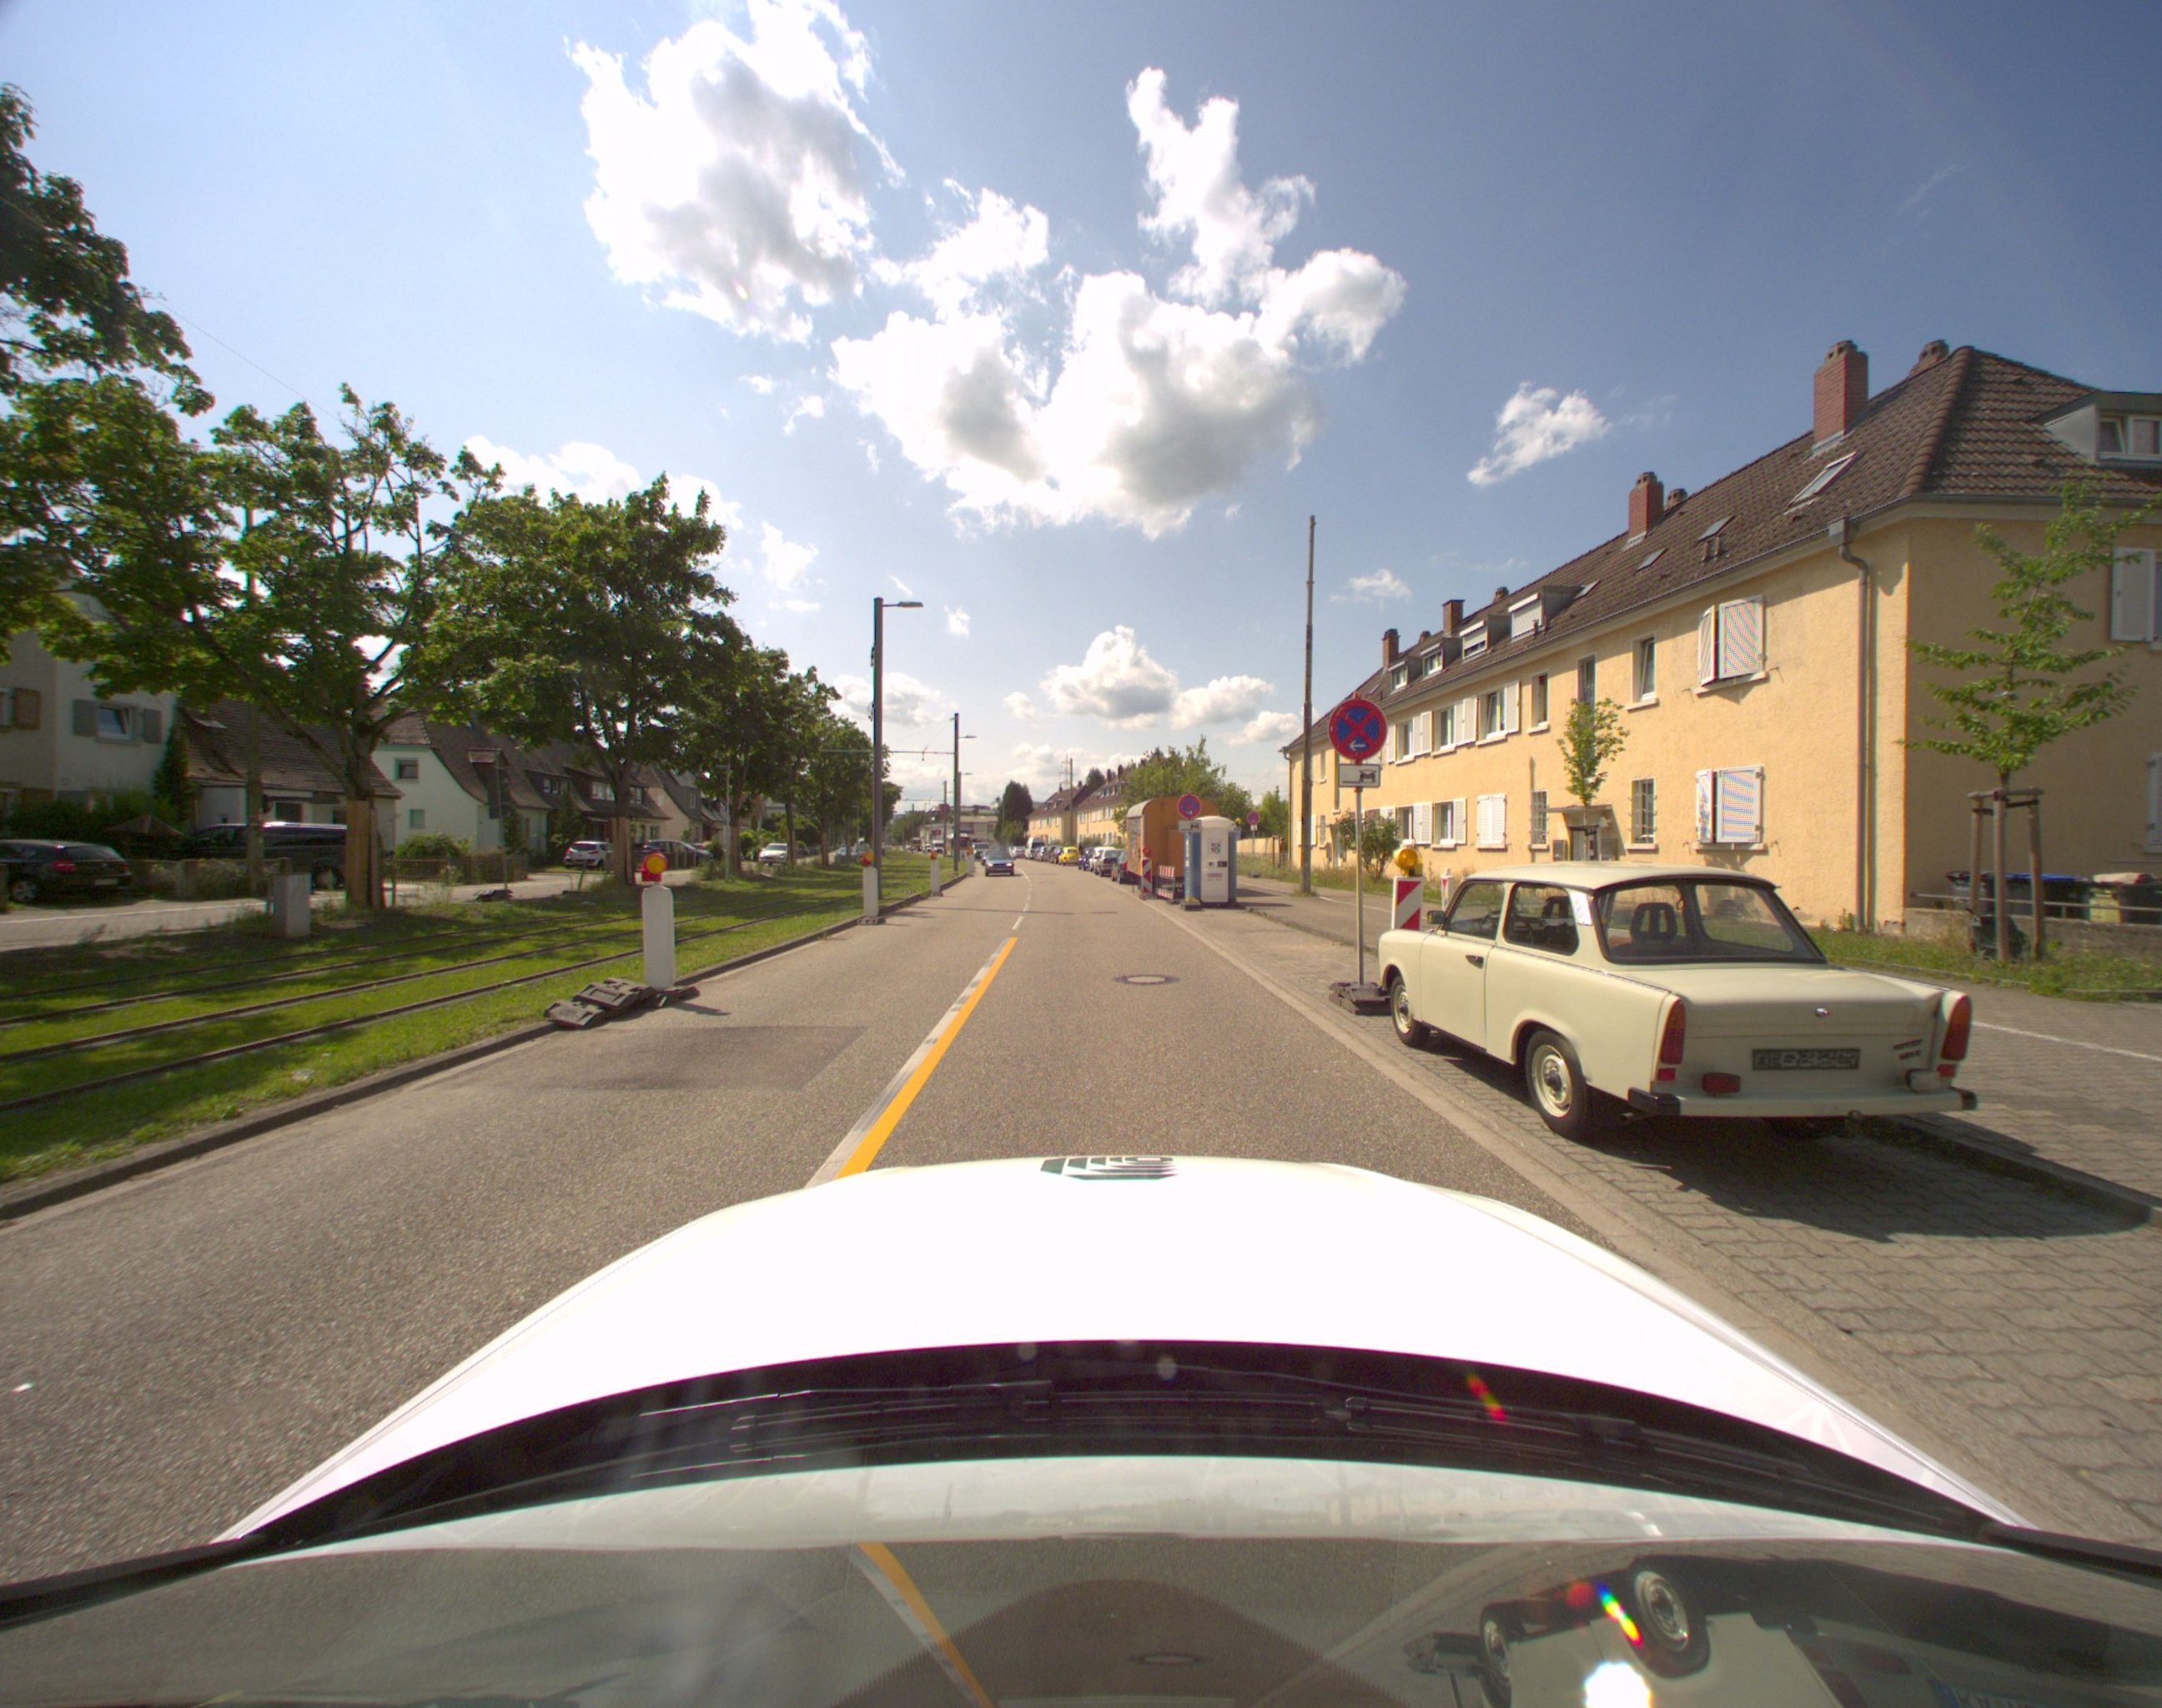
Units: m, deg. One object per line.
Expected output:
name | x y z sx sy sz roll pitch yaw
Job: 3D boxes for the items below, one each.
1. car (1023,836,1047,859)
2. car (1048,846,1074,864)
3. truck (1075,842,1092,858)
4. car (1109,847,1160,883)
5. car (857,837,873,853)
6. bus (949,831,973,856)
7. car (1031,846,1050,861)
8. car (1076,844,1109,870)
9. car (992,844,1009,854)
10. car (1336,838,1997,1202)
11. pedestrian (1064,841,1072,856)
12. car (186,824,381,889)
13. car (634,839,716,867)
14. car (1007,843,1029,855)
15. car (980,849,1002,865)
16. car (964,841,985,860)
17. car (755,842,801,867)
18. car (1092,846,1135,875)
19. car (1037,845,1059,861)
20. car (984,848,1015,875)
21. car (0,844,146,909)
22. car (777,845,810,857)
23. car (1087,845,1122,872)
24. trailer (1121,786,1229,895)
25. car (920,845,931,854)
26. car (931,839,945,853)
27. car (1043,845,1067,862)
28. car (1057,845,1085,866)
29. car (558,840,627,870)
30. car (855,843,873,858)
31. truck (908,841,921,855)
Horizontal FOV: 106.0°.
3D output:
car | -5.125 -0.689 90.027 1.930 2.480 5.496 -1 1 -11
car | -1.747 0.041 70.834 1.636 1.482 4.110 0 1 -10
truck | 0.263 -0.395 88.655 1.346 1.688 2.432 0 0 -11
car | 2.251 0.447 35.202 1.575 1.449 4.446 0 0 -5
car | -37.303 -1.518 140.309 2.080 2.721 6.958 -2 1 -19
bus | -17.862 -1.572 120.567 2.638 3.412 12.197 -1 1 -12
car | -4.207 -0.083 84.761 1.536 1.445 3.724 0 1 -10
car | 0.692 0.156 53.225 1.548 1.641 4.235 0 0 -8
car | -11.512 -0.690 116.442 1.767 1.417 3.980 -2 1 -15
car | 3.110 0.681 5.474 1.459 1.502 4.108 -1 0 -1
pedestrian | -1.507 -0.644 93.482 0.854 1.652 0.635 1 0 -10
car | -25.060 0.097 25.791 3.901 1.897 1.928 2 0 -24
car | -27.069 -0.064 54.480 4.470 1.836 2.058 0 0 -10
car | -7.981 -0.598 102.401 1.802 1.458 4.740 -2 0 -16
car | -7.837 0.232 70.757 1.723 1.389 4.110 0 0 -8
car | -11.541 -0.427 87.921 1.956 1.966 5.274 -1 1 -11
car | -22.732 0.011 61.353 1.878 1.768 5.075 0 0 -4
car | 1.667 0.311 43.055 1.704 1.449 4.827 0 1 -5
car | -3.257 -0.116 79.949 1.636 1.602 4.015 0 1 -10
car | -4.669 0.390 47.222 1.662 1.449 3.953 -2 1 -5
car | -24.803 0.487 18.950 3.876 1.457 1.733 0 0 -5
car | -38.368 -0.435 108.716 3.997 1.571 1.784 0 1 -18
car | 1.341 0.226 48.135 1.575 1.513 4.452 0 0 -5
trailer | 2.950 -0.419 26.895 2.685 3.226 5.075 0 0 -4
car | -32.457 -0.993 169.626 1.739 1.773 4.283 0 1 -17
car | -25.370 -1.352 144.183 2.106 2.443 5.544 0 0 -14
car | -2.454 -0.053 76.146 1.637 1.602 3.915 0 1 -12
car | -0.834 0.105 65.426 1.635 1.482 3.921 -3 2 -8
car | -26.107 0.055 43.643 1.727 1.517 4.032 0 0 -8
car | -24.604 -0.389 92.432 1.814 1.586 4.546 -2 1 -14
truck | -41.460 -1.560 202.778 2.566 3.459 7.109 -2 1 -17
